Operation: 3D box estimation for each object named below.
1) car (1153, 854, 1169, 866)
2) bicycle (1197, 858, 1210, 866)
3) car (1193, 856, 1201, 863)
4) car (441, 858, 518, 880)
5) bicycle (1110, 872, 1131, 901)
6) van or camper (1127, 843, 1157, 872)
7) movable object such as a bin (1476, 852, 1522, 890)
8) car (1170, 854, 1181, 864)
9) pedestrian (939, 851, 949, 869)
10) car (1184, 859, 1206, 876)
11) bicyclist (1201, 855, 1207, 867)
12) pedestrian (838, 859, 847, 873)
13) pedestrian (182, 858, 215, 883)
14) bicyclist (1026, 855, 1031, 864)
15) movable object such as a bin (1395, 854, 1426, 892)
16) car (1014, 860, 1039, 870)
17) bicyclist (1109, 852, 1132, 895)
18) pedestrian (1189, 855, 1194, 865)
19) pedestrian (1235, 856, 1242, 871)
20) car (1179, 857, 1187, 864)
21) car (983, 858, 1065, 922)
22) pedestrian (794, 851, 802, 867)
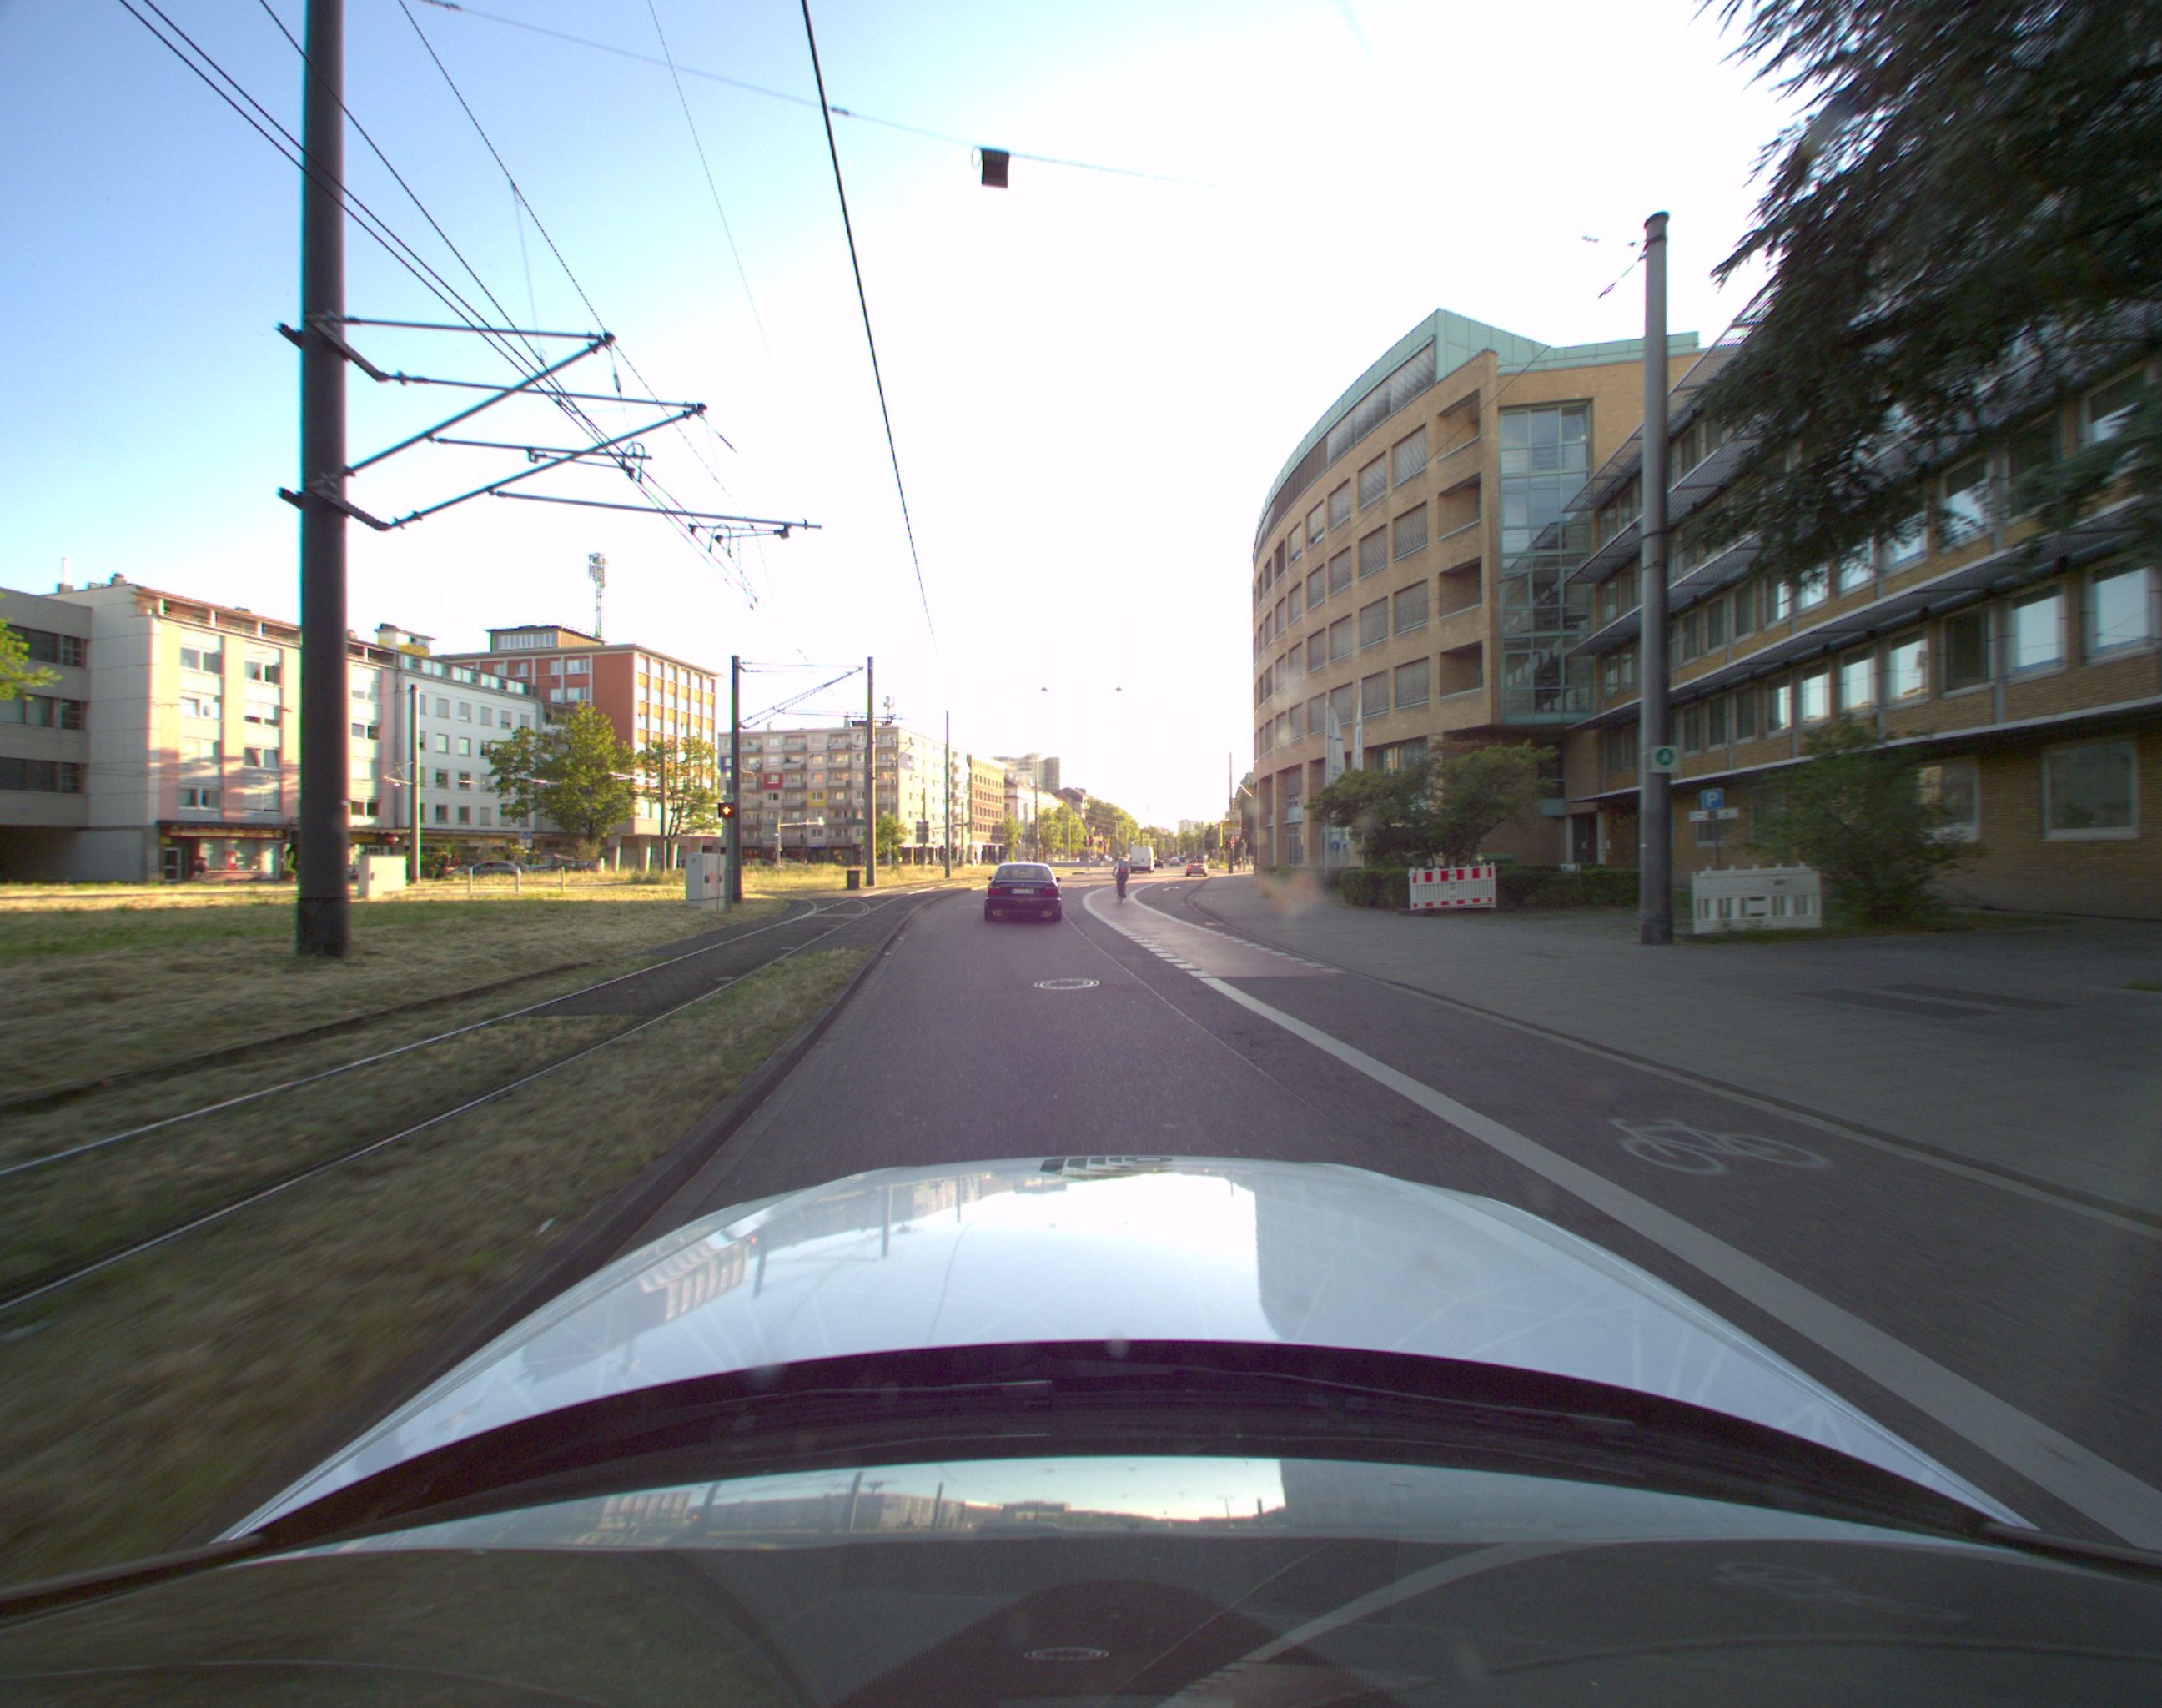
[{"bbox_3d":[10.688,0.793,109.005,1.726,1.385,4.013,-1,1,11],"label":"car"},{"bbox_3d":[16.598,1.082,110.189,1.718,0.970,0.611,0,1,8],"label":"bicycle"},{"bbox_3d":[28.362,1.271,199.569,1.785,1.566,4.008,-1,1,7],"label":"car"},{"bbox_3d":[-42.131,1.005,57.099,1.689,1.390,4.026,0,1,35],"label":"car"},{"bbox_3d":[1.402,1.145,29.230,0.514,0.954,1.773,1,0,-4],"label":"bicycle"},{"bbox_3d":[5.855,0.264,77.303,2.248,2.625,4.517,-1,1,11],"label":"van or camper"},{"bbox_3d":[16.049,0.633,31.293,1.335,1.424,0.925,-1,1,3],"label":"movable object such as a bin"},{"bbox_3d":[16.240,0.827,140.047,1.785,1.566,4.008,-1,1,7],"label":"car"},{"bbox_3d":[-13.387,0.584,79.678,0.712,1.762,0.654,0,1,32],"label":"pedestrian"},{"bbox_3d":[10.002,1.197,71.152,1.772,1.354,4.279,1,1,10],"label":"car"},{"bbox_3d":[16.671,0.954,110.183,0.793,1.571,0.665,-1,1,7],"label":"bicyclist"},{"bbox_3d":[-29.627,1.500,101.007,0.734,1.669,0.785,-1,1,11],"label":"pedestrian"},{"bbox_3d":[-55.189,1.051,50.928,1.112,1.528,0.855,-1,1,8],"label":"pedestrian"},{"bbox_3d":[-8.235,0.855,127.535,0.852,1.442,0.662,1,1,-6],"label":"bicyclist"},{"bbox_3d":[13.137,0.752,32.483,0.962,1.437,1.353,0,1,29],"label":"movable object such as a bin"},{"bbox_3d":[-8.660,1.716,129.215,3.981,1.434,1.715,1,1,-6],"label":"car"},{"bbox_3d":[1.404,0.684,29.015,0.654,1.483,1.037,2,-1,-3],"label":"bicyclist"},{"bbox_3d":[17.608,0.984,129.848,0.612,1.475,0.803,-1,1,15],"label":"pedestrian"},{"bbox_3d":[16.071,0.974,82.940,0.673,1.569,0.802,-1,1,8],"label":"pedestrian"},{"bbox_3d":[24.160,1.432,192.508,1.785,1.566,4.008,-1,1,7],"label":"car"},{"bbox_3d":[-1.347,0.826,20.760,1.825,1.354,4.639,1,0,-1],"label":"car"},{"bbox_3d":[-34.862,0.608,100.287,0.700,1.852,0.739,-1,1,11],"label":"pedestrian"}]
